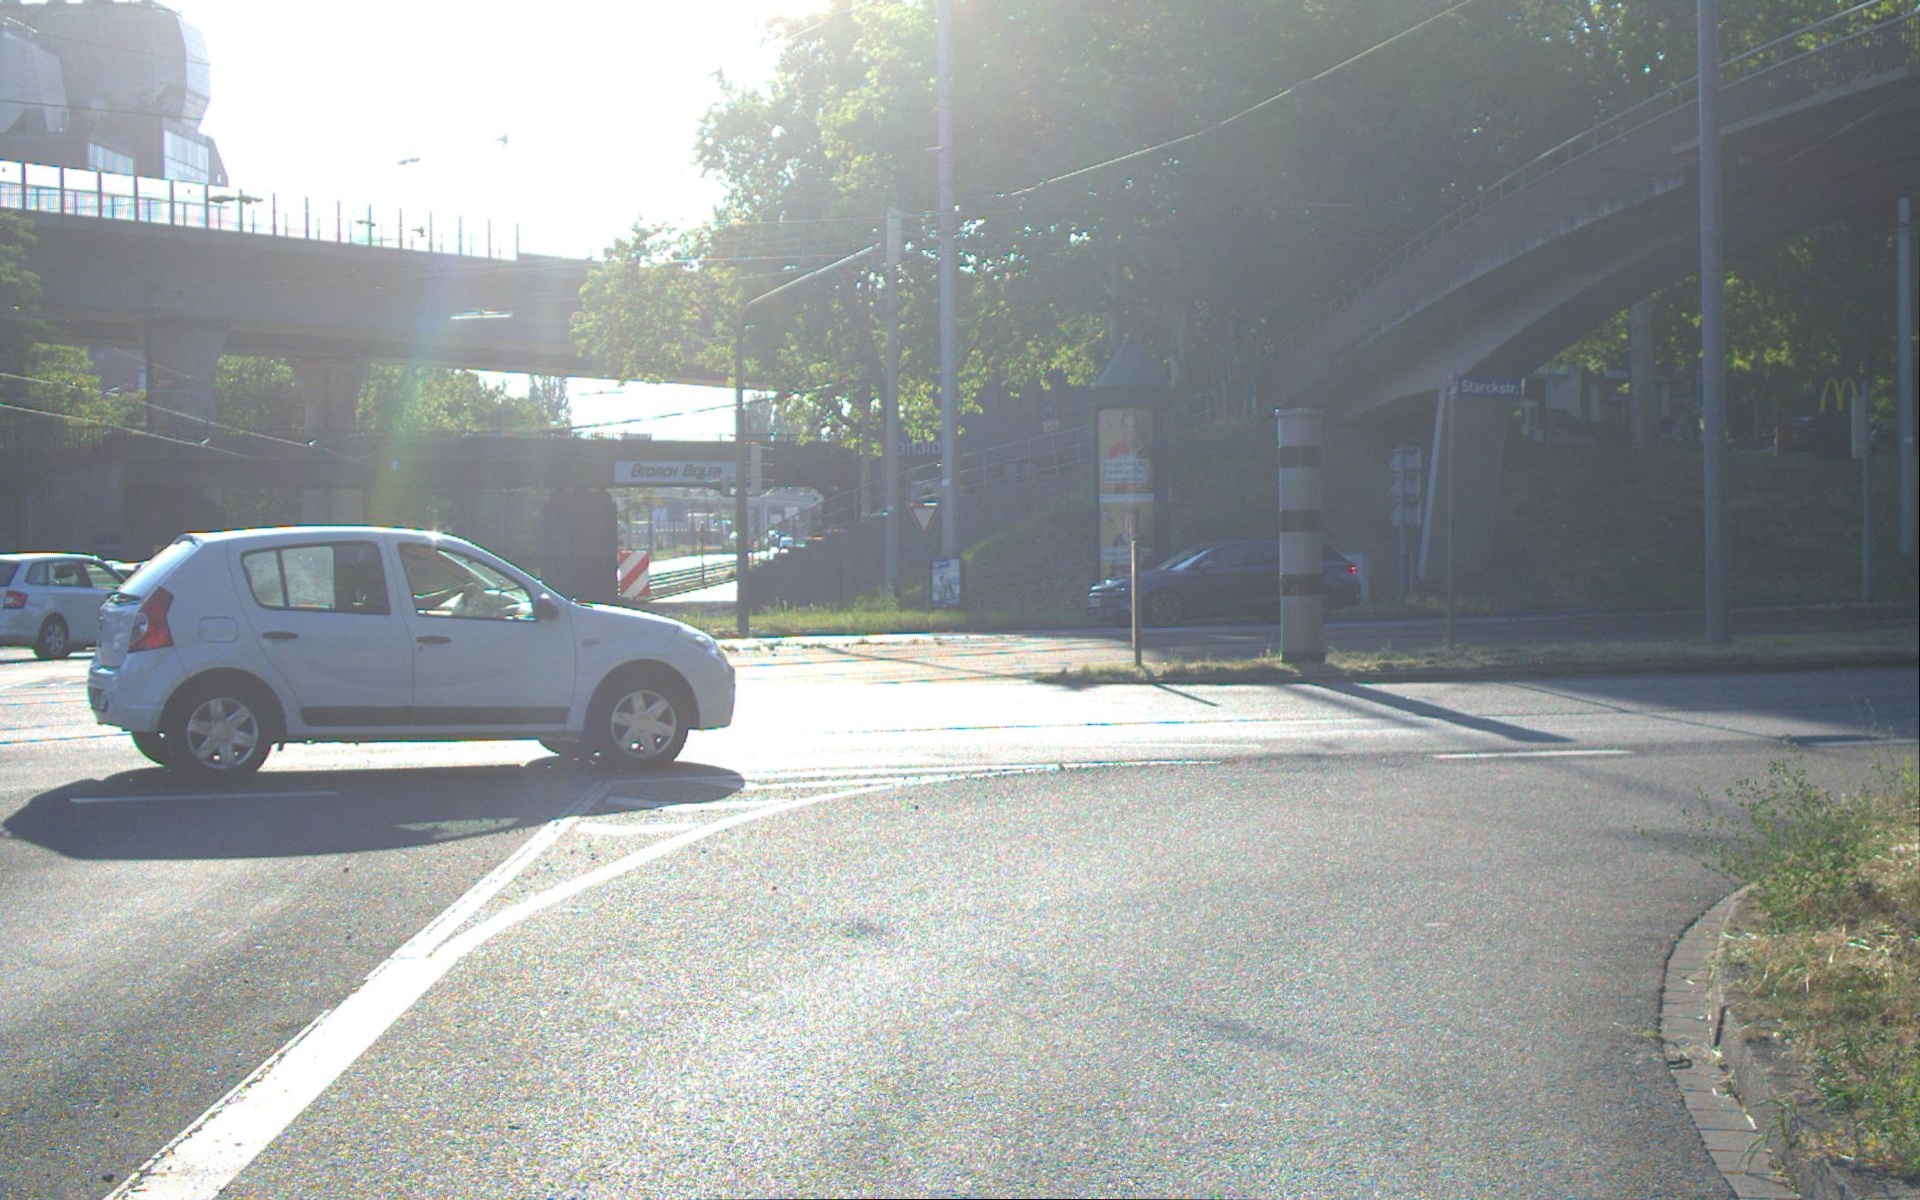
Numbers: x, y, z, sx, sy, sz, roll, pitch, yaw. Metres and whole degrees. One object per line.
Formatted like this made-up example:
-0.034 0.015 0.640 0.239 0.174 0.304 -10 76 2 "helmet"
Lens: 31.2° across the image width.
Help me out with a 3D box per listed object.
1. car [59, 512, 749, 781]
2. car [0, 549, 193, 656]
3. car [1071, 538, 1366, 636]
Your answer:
-3.486 0.251 21.518 3.986 1.569 1.694 0 1 -22 "car"
-12.565 -0.001 47.581 1.667 1.400 4.192 1 1 23 "car"
4.287 -0.217 57.058 4.574 1.569 1.694 0 1 -17 "car"
